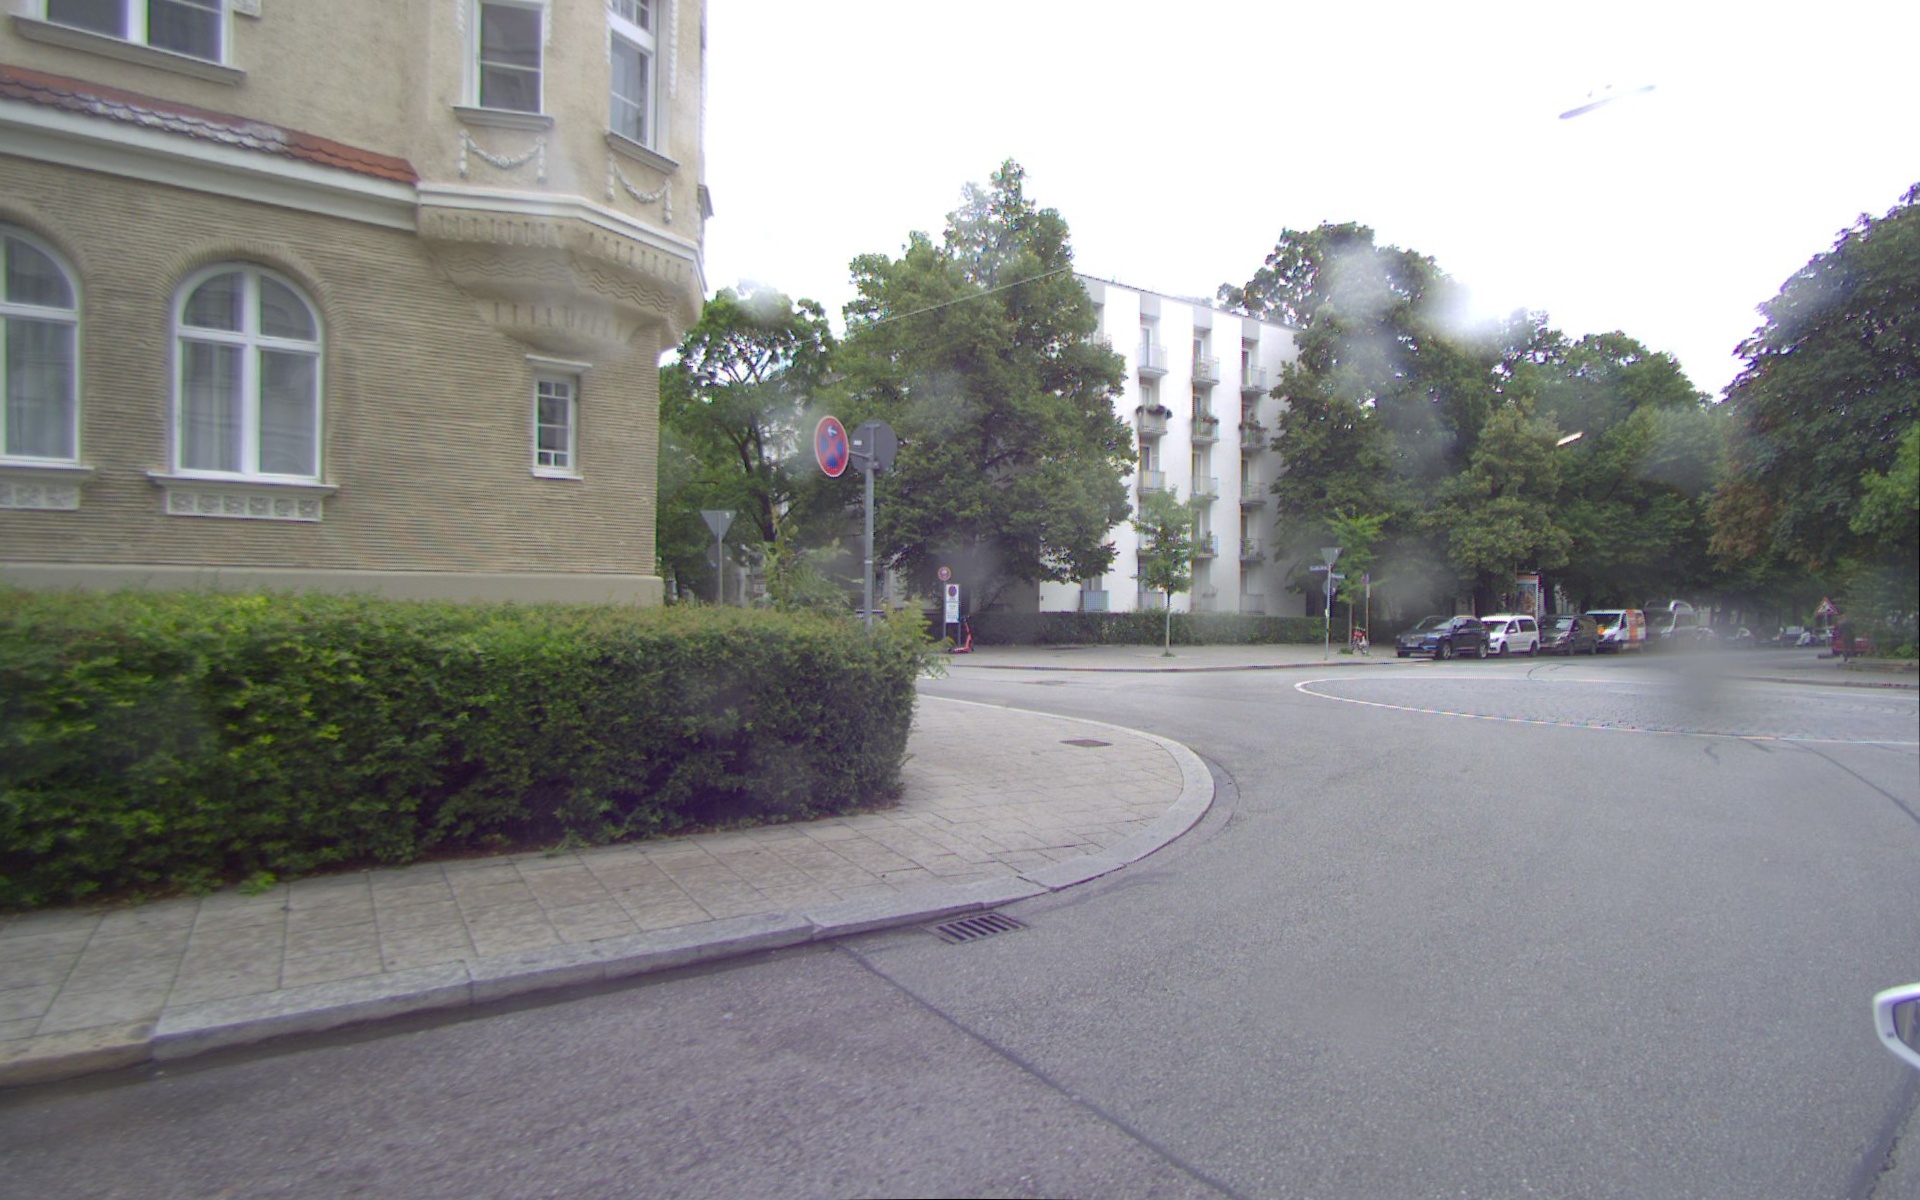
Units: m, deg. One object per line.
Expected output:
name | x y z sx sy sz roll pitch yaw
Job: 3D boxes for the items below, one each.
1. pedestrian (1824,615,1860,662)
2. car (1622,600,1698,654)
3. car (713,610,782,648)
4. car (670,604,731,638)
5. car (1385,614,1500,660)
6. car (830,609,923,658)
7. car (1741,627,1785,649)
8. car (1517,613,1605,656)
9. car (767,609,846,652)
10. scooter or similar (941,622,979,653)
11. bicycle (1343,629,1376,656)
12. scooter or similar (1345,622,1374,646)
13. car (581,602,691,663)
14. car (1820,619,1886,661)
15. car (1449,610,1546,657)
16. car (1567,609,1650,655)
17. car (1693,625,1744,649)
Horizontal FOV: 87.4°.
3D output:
pedestrian | 35.772 1.566 40.750 0.806 1.860 0.952 0 -1 23
car | 40.861 1.566 58.582 6.183 3.042 2.154 2 -1 -41
car | -9.075 1.191 42.691 1.658 1.476 3.642 -2 1 -33
car | -12.177 0.951 46.944 1.658 1.476 3.642 -2 1 -33
car | 19.520 1.472 40.551 5.256 1.742 2.068 1 -1 -37
car | -2.955 1.116 34.817 1.658 1.548 3.642 -2 1 -33
car | 59.624 2.816 74.559 4.099 1.506 1.975 2 -1 -43
car | 28.914 1.640 48.250 5.623 1.933 2.008 2 -2 -41
car | -6.024 1.136 39.078 1.658 1.548 3.642 -2 1 -33
scooter or similar | 0.011 1.255 33.822 0.521 1.038 1.303 0 -1 45
bicycle | 16.474 1.734 41.421 0.742 1.099 1.776 0 -1 40
scooter or similar | 20.492 1.732 51.482 1.645 1.207 0.695 1 -1 -41
car | -10.027 0.942 30.830 1.979 1.698 4.944 1 -1 -33
car | 44.409 1.948 49.919 4.932 1.962 1.894 2 -1 -42
car | 23.568 1.450 43.972 4.816 1.929 2.067 2 -1 -39
car | 34.228 1.697 52.969 5.555 2.294 2.067 1 -3 -39
car | 49.224 2.400 65.169 4.099 1.439 1.975 2 -1 -43
